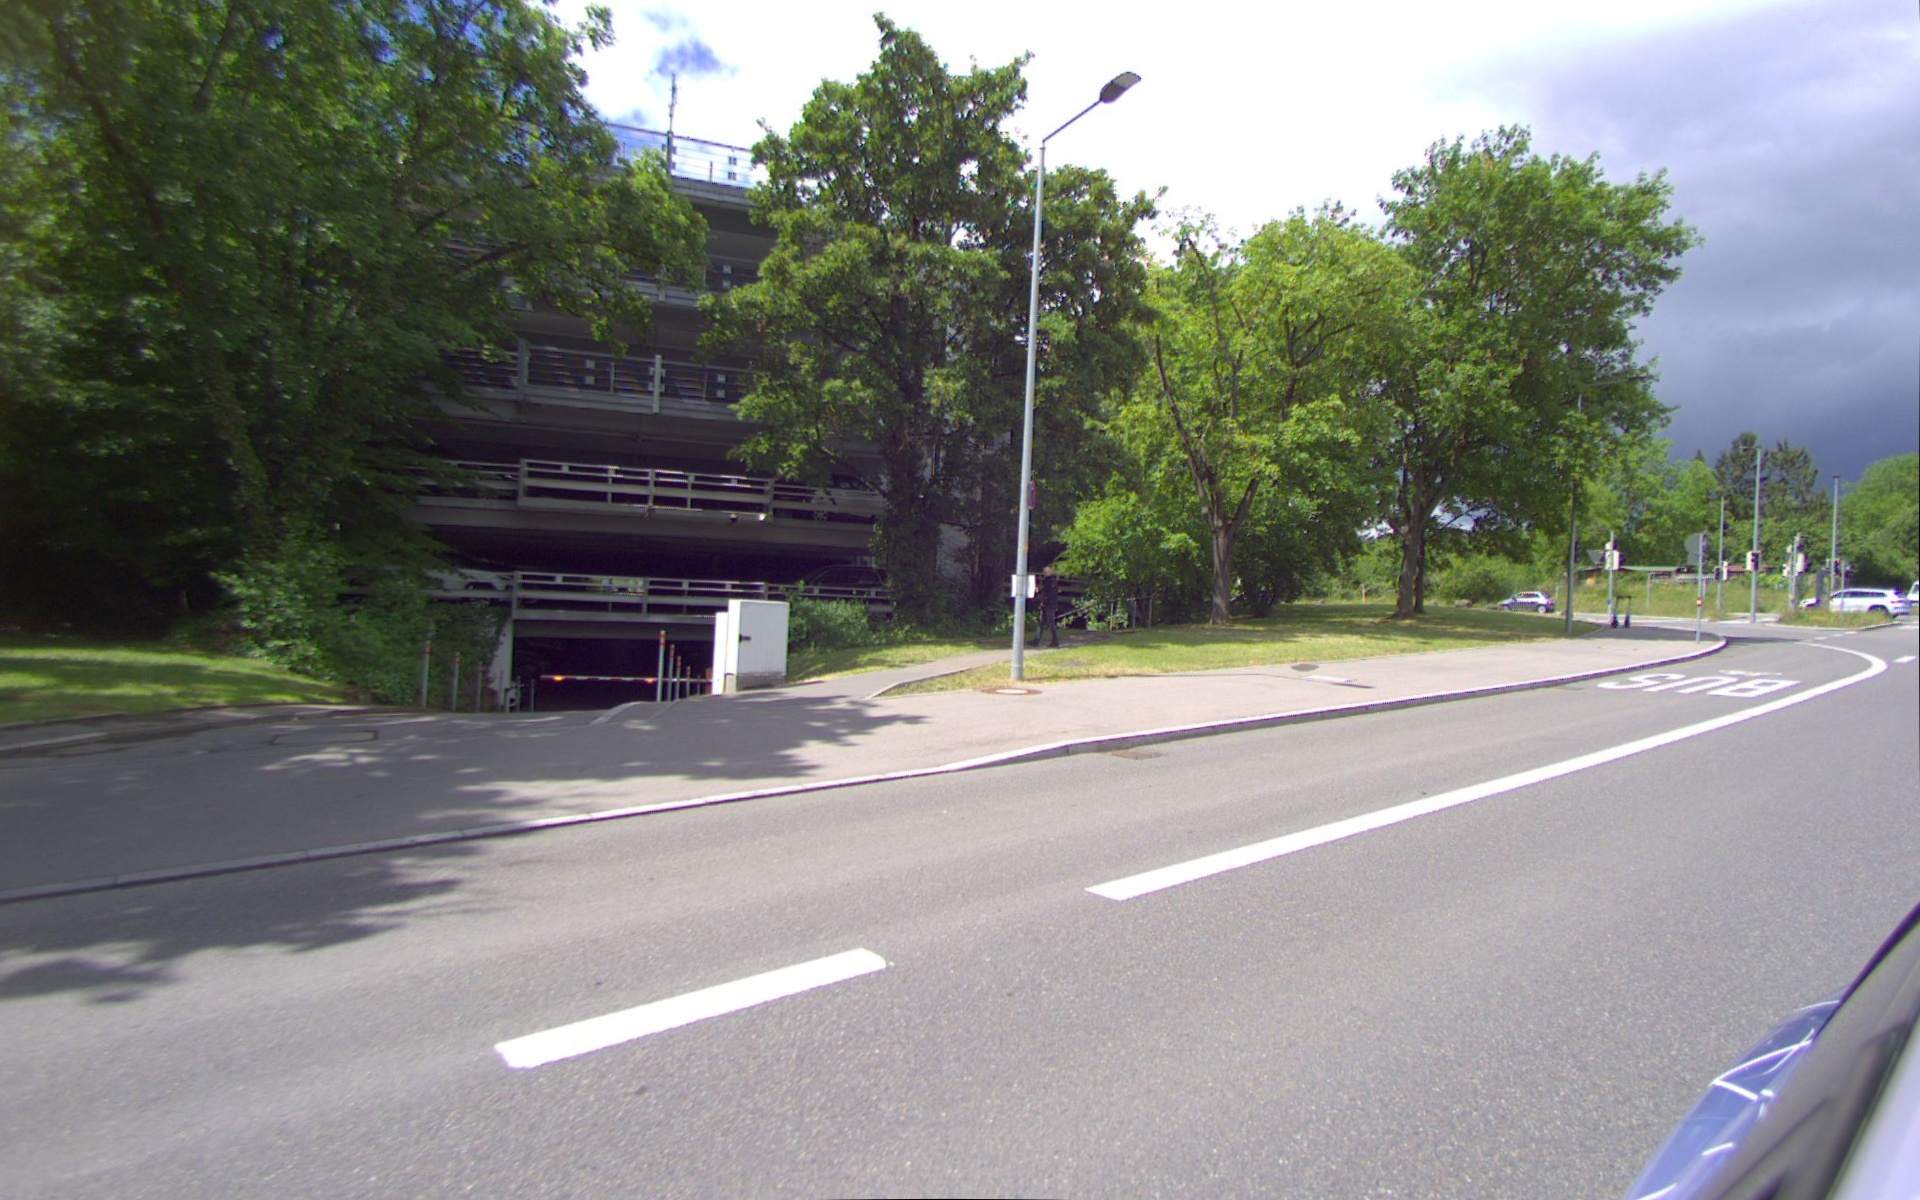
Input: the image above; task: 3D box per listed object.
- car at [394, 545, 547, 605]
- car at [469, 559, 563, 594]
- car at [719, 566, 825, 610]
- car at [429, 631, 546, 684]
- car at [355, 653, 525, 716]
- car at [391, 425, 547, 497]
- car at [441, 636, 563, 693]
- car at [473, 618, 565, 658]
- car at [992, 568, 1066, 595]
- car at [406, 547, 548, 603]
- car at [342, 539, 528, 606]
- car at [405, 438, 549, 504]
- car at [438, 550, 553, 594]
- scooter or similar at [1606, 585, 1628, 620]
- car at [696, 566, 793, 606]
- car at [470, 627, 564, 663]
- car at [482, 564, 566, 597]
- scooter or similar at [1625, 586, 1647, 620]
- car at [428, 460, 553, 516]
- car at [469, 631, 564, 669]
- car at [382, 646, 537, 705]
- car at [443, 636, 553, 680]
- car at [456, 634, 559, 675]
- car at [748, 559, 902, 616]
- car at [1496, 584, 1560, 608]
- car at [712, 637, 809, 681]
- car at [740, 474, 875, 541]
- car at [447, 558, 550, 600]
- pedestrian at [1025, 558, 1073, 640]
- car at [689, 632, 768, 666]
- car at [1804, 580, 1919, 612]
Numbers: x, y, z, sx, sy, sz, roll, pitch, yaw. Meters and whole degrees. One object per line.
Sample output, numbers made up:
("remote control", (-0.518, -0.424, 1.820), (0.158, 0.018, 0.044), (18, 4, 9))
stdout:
("car", (-13.910, -0.676, 28.987), (3.718, 1.491, 1.780), (3, -1, -19))
("car", (-20.131, -1.052, 46.080), (3.806, 1.560, 1.761), (0, 1, -20))
("car", (-6.806, -0.428, 36.606), (3.547, 1.543, 1.637), (0, 1, -20))
("car", (-16.441, 1.977, 35.417), (3.547, 1.659, 1.761), (0, 1, -20))
("car", (-13.575, 2.217, 26.668), (3.718, 1.452, 1.700), (3, -1, -19))
("car", (-12.877, -3.621, 26.764), (3.547, 1.543, 1.637), (0, 1, -20))
("car", (-15.095, 2.097, 33.533), (3.547, 1.659, 1.761), (0, 1, -20))
("car", (-21.269, 1.799, 48.934), (3.916, 1.794, 1.889), (0, 1, -18))
("car", (3.895, -1.041, 57.072), (3.718, 1.309, 1.780), (3, -1, -19))
("car", (-14.734, -0.739, 31.092), (3.718, 1.491, 1.780), (3, -1, -19))
("car", (-13.614, -0.676, 26.536), (4.052, 1.491, 1.780), (3, -1, -19))
("car", (-13.629, -3.618, 28.754), (3.547, 1.543, 1.637), (0, 1, -20))
("car", (-16.237, -0.957, 35.525), (3.547, 1.449, 1.637), (0, 1, -20))
("scooter or similar", (24.751, 0.080, 38.111), (0.529, 1.279, 1.178), (3, 2, 28))
("car", (-8.609, -0.552, 40.345), (3.547, 1.543, 1.774), (0, 1, -22))
("car", (-20.045, 2.015, 45.941), (3.806, 1.459, 1.761), (0, 1, -20))
("car", (-22.606, -1.000, 52.583), (3.889, 1.659, 1.761), (0, 1, -20))
("scooter or similar", (25.986, 0.112, 38.894), (0.529, 1.279, 1.178), (3, 2, 28))
("car", (-15.261, -3.613, 33.064), (3.547, 1.543, 1.637), (0, 1, -20))
("car", (-18.533, 2.066, 42.451), (3.547, 1.431, 1.577), (0, 1, -20))
("car", (-14.156, 2.145, 28.856), (3.718, 1.491, 1.780), (3, -1, -19))
("car", (-17.019, 2.110, 37.465), (3.547, 1.461, 1.761), (0, 1, -20))
("car", (-17.593, 2.086, 39.529), (3.547, 1.431, 1.577), (0, 1, -20))
("car", (-4.010, -0.375, 30.050), (4.299, 1.615, 1.660), (0, 1, -20))
("car", (38.501, -0.256, 68.635), (1.559, 1.479, 3.514), (4, -2, -45))
("car", (-8.008, 2.341, 40.616), (3.547, 1.543, 1.774), (0, 1, -22))
("car", (-4.862, -2.871, 32.124), (3.916, 1.817, 1.940), (0, -1, -20))
("car", (-18.031, -0.817, 39.705), (3.547, 1.560, 1.761), (0, 1, -20))
("pedestrian", (1.965, -0.013, 22.425), (0.758, 1.740, 0.591), (5, -2, -21))
("car", (-11.023, 2.319, 48.147), (3.547, 1.463, 1.659), (0, 1, -18))
("car", (49.535, -0.226, 55.318), (1.699, 1.679, 4.905), (1, 0, -32))
